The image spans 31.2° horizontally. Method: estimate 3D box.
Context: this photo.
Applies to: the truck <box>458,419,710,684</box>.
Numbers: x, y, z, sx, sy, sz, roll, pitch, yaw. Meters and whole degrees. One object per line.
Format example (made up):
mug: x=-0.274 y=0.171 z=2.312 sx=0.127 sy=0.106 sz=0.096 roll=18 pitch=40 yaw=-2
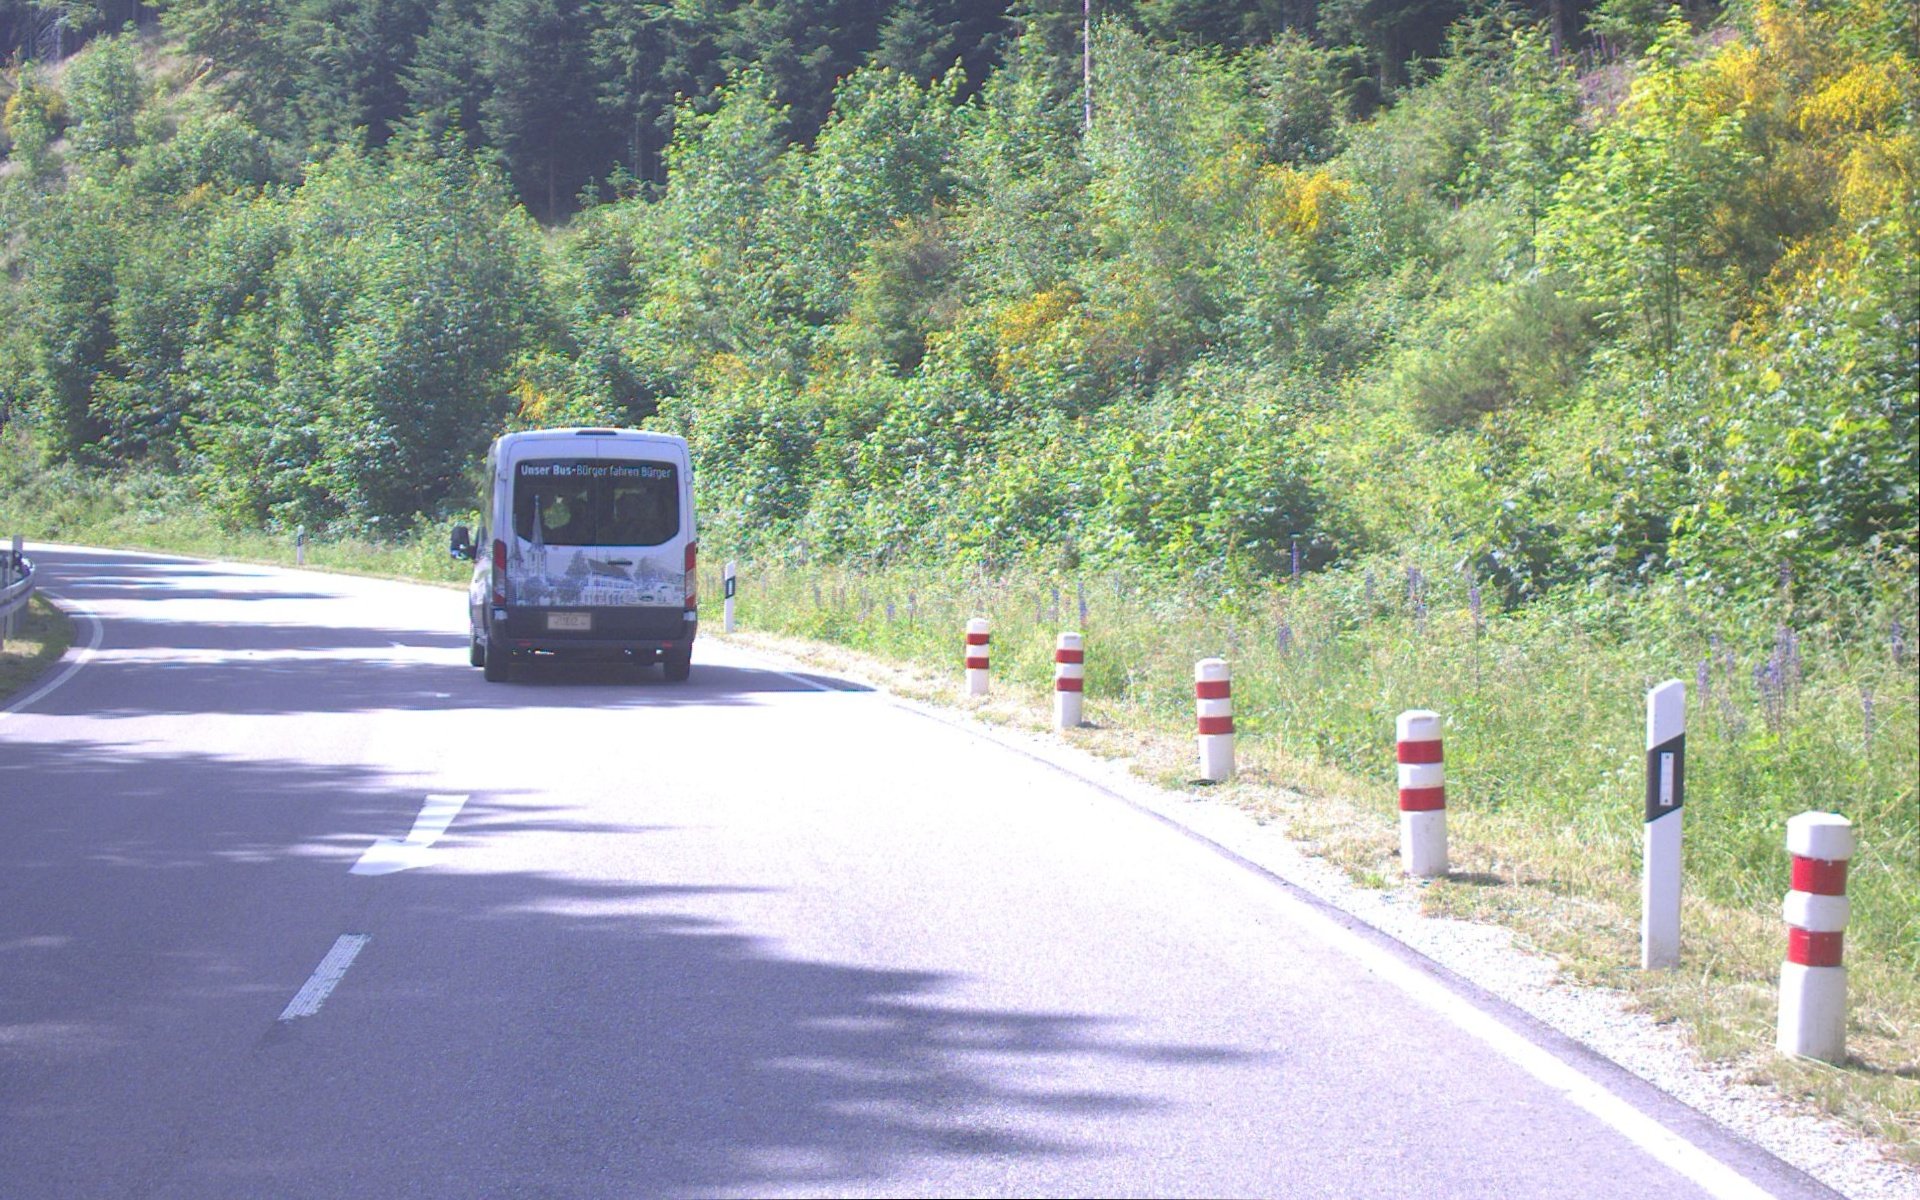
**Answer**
truck: x=-3.938 y=-0.532 z=35.194 sx=2.115 sy=2.489 sz=5.361 roll=0 pitch=2 yaw=-11
